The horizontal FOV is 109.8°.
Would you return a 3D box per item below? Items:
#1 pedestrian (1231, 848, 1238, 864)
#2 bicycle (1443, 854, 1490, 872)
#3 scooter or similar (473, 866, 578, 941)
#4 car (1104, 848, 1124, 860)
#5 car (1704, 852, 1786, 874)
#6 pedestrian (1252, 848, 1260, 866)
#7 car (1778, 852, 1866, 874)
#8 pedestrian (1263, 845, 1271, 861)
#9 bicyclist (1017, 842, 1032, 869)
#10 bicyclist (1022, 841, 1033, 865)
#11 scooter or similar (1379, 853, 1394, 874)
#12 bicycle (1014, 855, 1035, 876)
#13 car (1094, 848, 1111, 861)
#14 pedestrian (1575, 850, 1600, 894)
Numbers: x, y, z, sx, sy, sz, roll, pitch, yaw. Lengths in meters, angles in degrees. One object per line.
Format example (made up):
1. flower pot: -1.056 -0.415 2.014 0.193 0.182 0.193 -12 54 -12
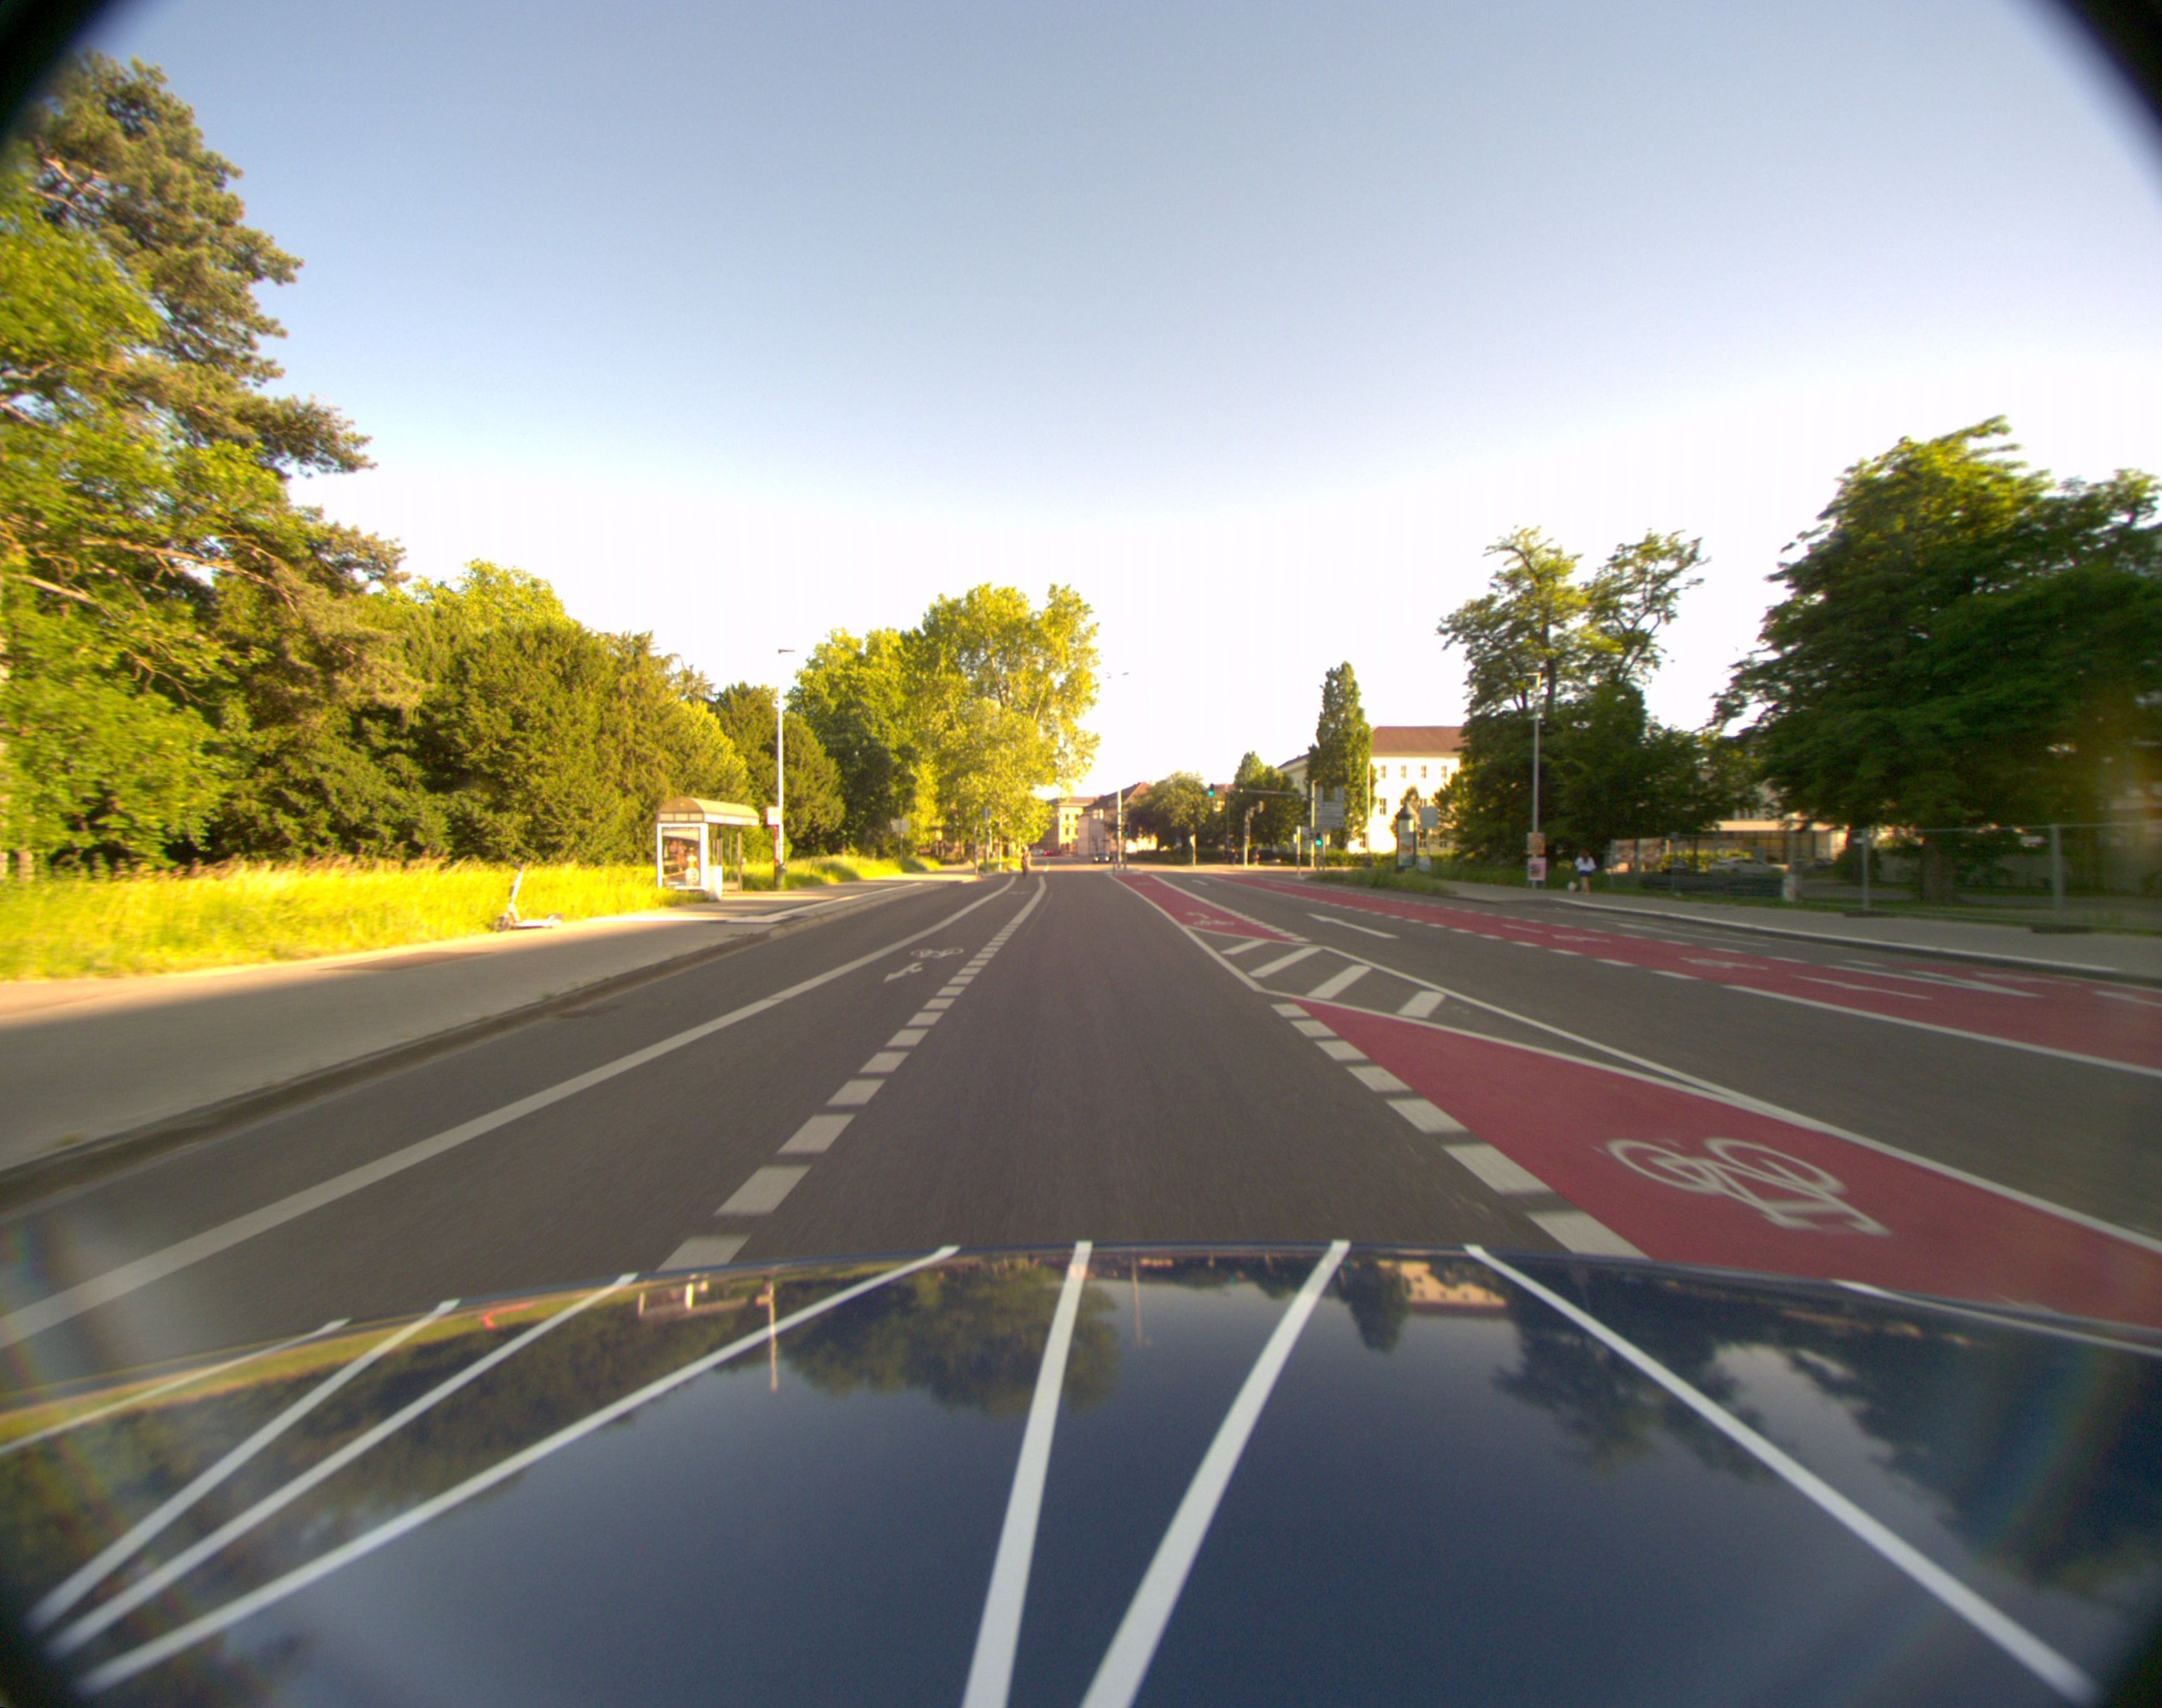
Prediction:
1. pedestrian: 16.072 0.162 79.420 0.691 1.672 0.680 0 1 7
2. bicycle: 25.413 0.573 50.104 2.576 1.129 0.980 0 1 3
3. scooter or similar: -9.933 0.847 13.631 0.722 1.240 1.330 0 1 21
4. car: 4.991 -0.009 115.051 1.717 1.413 4.546 6 1 -15
5. car: 50.281 0.664 57.641 4.253 1.530 2.070 0 1 6
6. pedestrian: 17.553 0.268 76.253 0.744 1.805 0.727 0 1 7
7. car: 55.867 0.658 57.348 4.253 1.530 2.238 0 1 6
8. pedestrian: 20.590 -0.091 84.060 0.691 1.805 0.681 0 1 7
9. bicyclist: -3.153 0.079 42.365 0.694 1.482 0.801 0 1 9
10. bicyclist: -3.332 -0.050 47.341 0.695 1.493 0.892 0 1 -5
11. scooter or similar: 19.284 0.607 47.932 0.693 1.286 1.499 1 1 28
12. bicycle: -3.157 0.633 42.353 0.694 1.089 2.137 0 1 9
13. car: 2.501 0.068 88.971 1.722 1.409 4.525 0 1 -2
14. pedestrian: 17.580 0.614 26.362 0.452 1.525 0.571 0 1 -6
